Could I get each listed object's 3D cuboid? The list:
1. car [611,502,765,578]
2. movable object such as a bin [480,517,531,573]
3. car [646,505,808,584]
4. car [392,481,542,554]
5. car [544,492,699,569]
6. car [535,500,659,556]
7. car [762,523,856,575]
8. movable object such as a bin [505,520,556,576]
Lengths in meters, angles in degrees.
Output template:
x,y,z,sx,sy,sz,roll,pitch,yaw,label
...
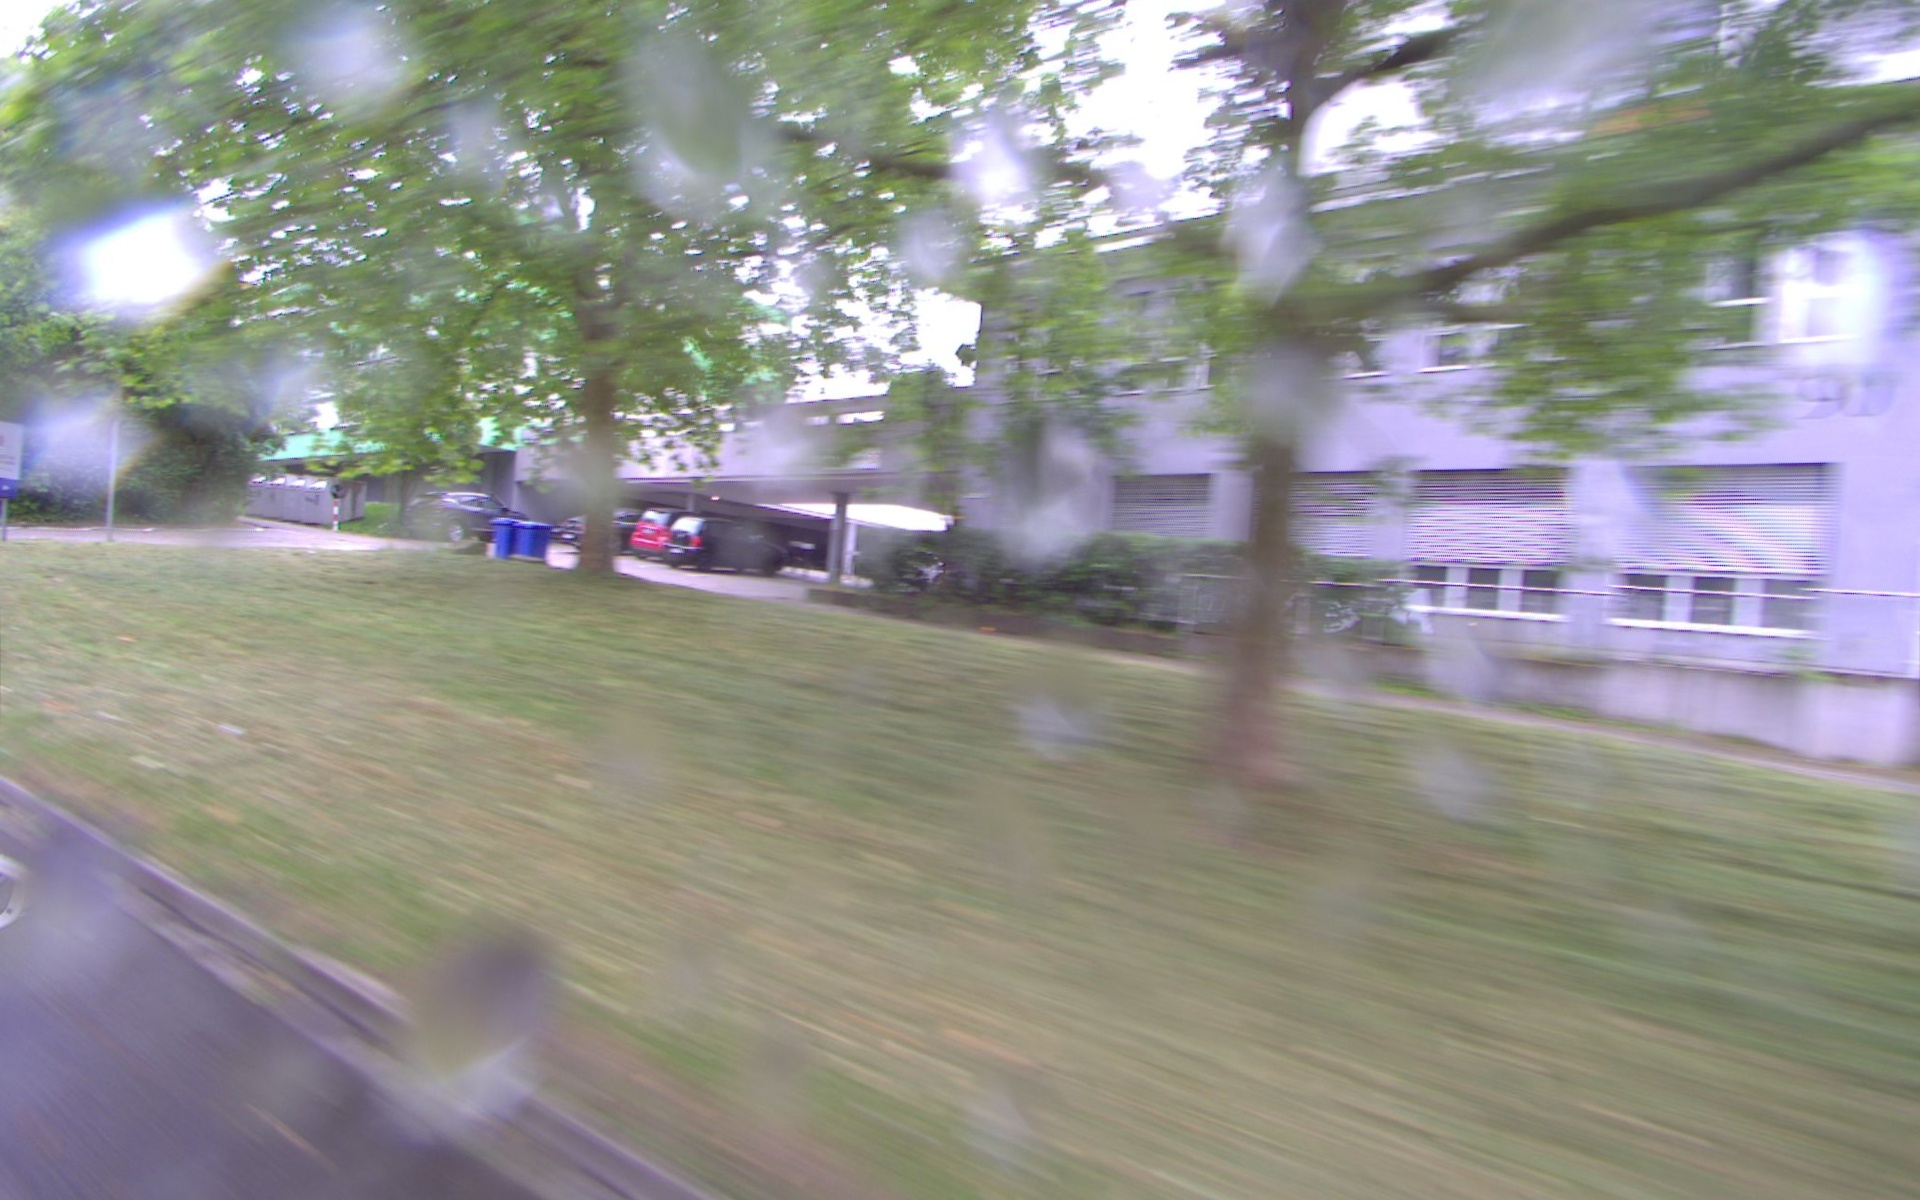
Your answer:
x,y,z,sx,sy,sz,roll,pitch,yaw,label
-8.124,-1.764,30.316,1.930,1.683,3.985,8,1,37,car
-10.373,-1.252,22.978,0.651,1.133,0.670,7,-2,28,movable object such as a bin
-6.526,-1.538,28.500,1.971,1.660,3.982,7,1,40,car
-16.182,-2.671,33.223,1.965,1.772,3.995,7,0,26,car
-10.336,-2.101,30.910,1.971,1.772,3.982,7,1,40,car
-13.869,-2.732,38.609,1.906,1.594,3.982,7,1,39,car
-7.036,-2.340,47.111,1.970,2.041,3.980,7,3,38,car
-9.675,-1.170,22.665,0.651,1.133,0.670,7,-2,28,movable object such as a bin
